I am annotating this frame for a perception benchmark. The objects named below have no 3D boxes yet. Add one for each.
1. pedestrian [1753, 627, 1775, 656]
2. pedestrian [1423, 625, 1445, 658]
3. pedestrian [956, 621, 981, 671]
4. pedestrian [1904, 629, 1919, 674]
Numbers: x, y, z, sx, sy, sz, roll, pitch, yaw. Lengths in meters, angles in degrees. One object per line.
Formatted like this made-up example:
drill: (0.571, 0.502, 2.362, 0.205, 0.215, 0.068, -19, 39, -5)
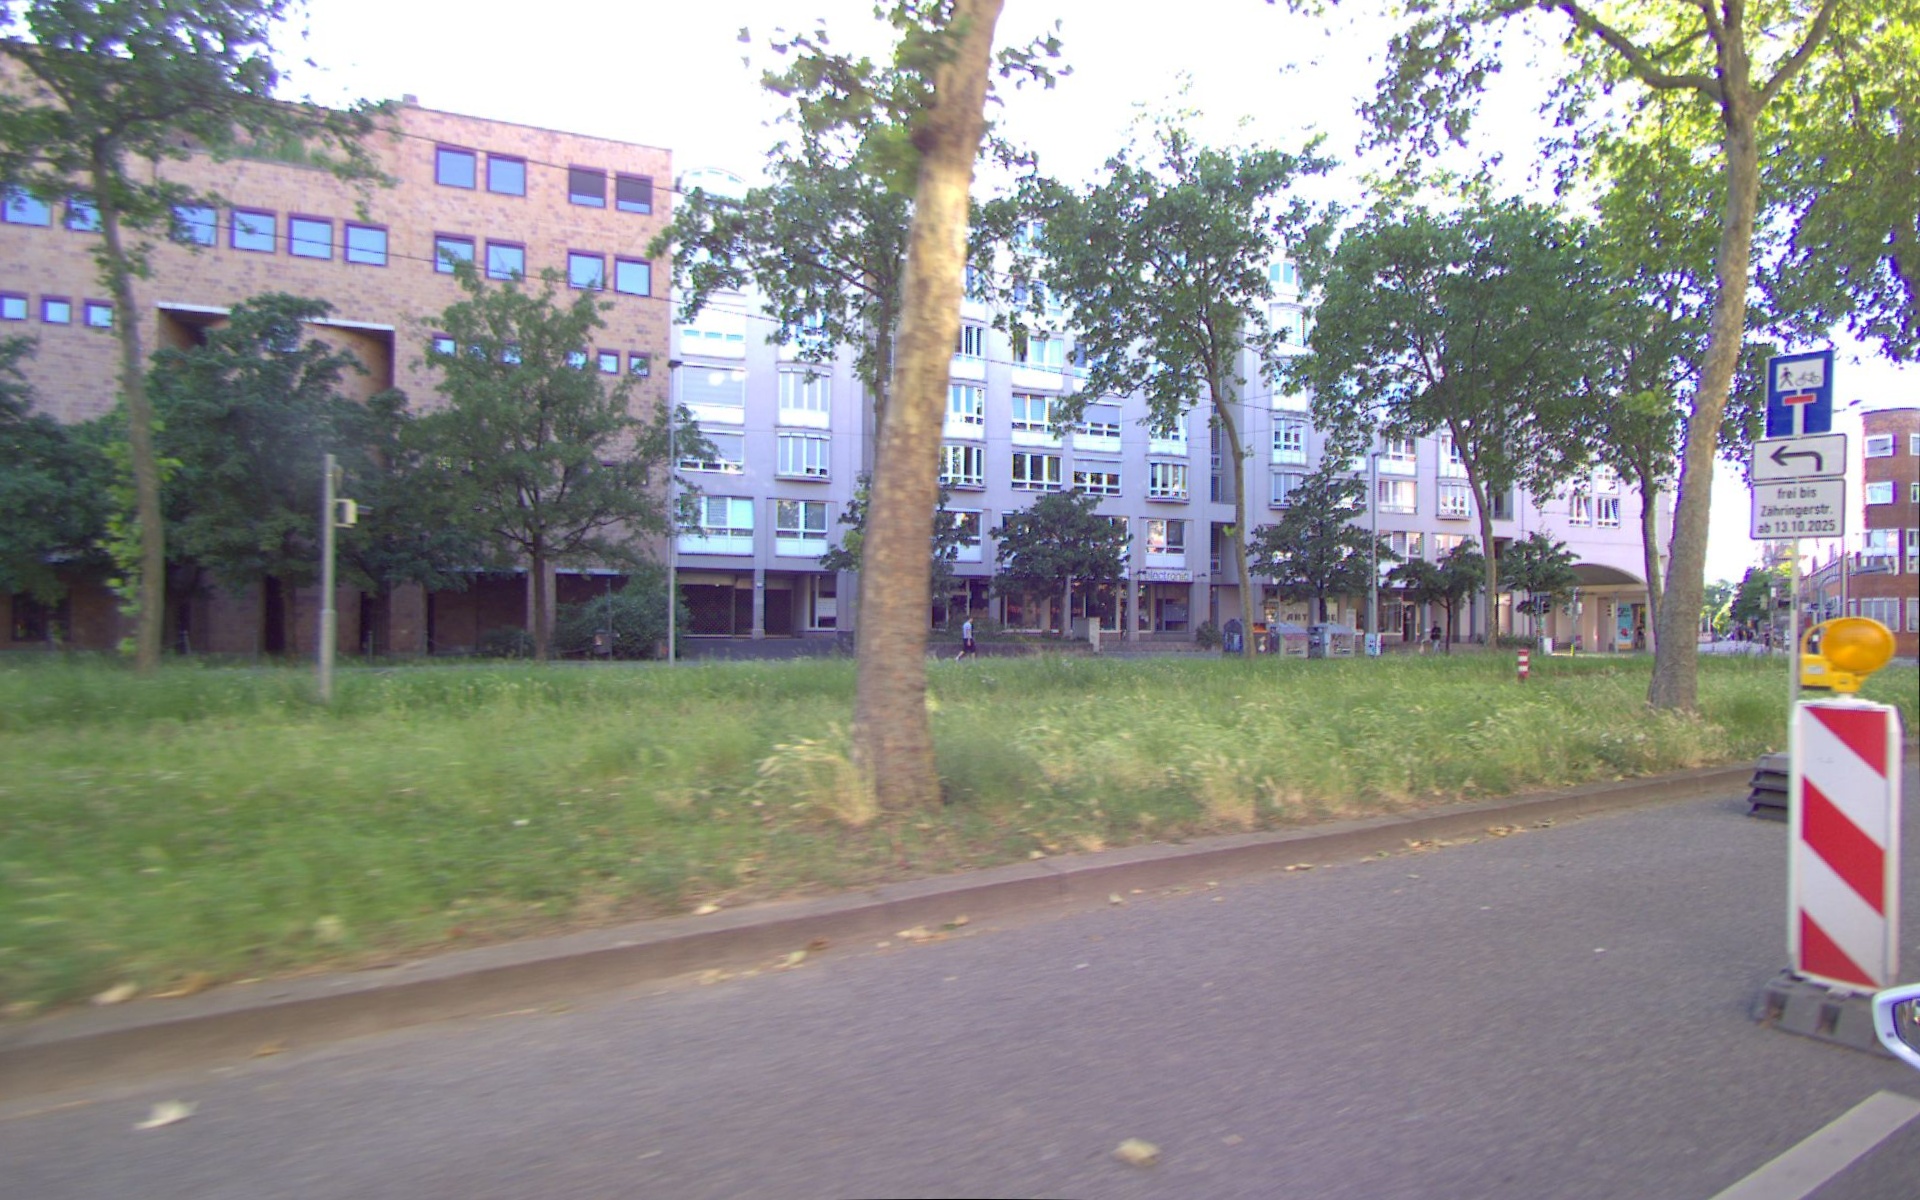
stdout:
pedestrian: (53.106, 2.731, 66.369, 0.741, 1.894, 0.853, 1, -2, -22)
pedestrian: (24.147, 2.134, 51.187, 0.776, 1.660, 0.706, 1, -1, -19)
pedestrian: (0.299, 1.624, 35.781, 0.639, 1.763, 0.726, 1, -1, -27)
pedestrian: (32.791, 1.761, 34.296, 0.526, 1.523, 0.618, 1, -1, -17)
